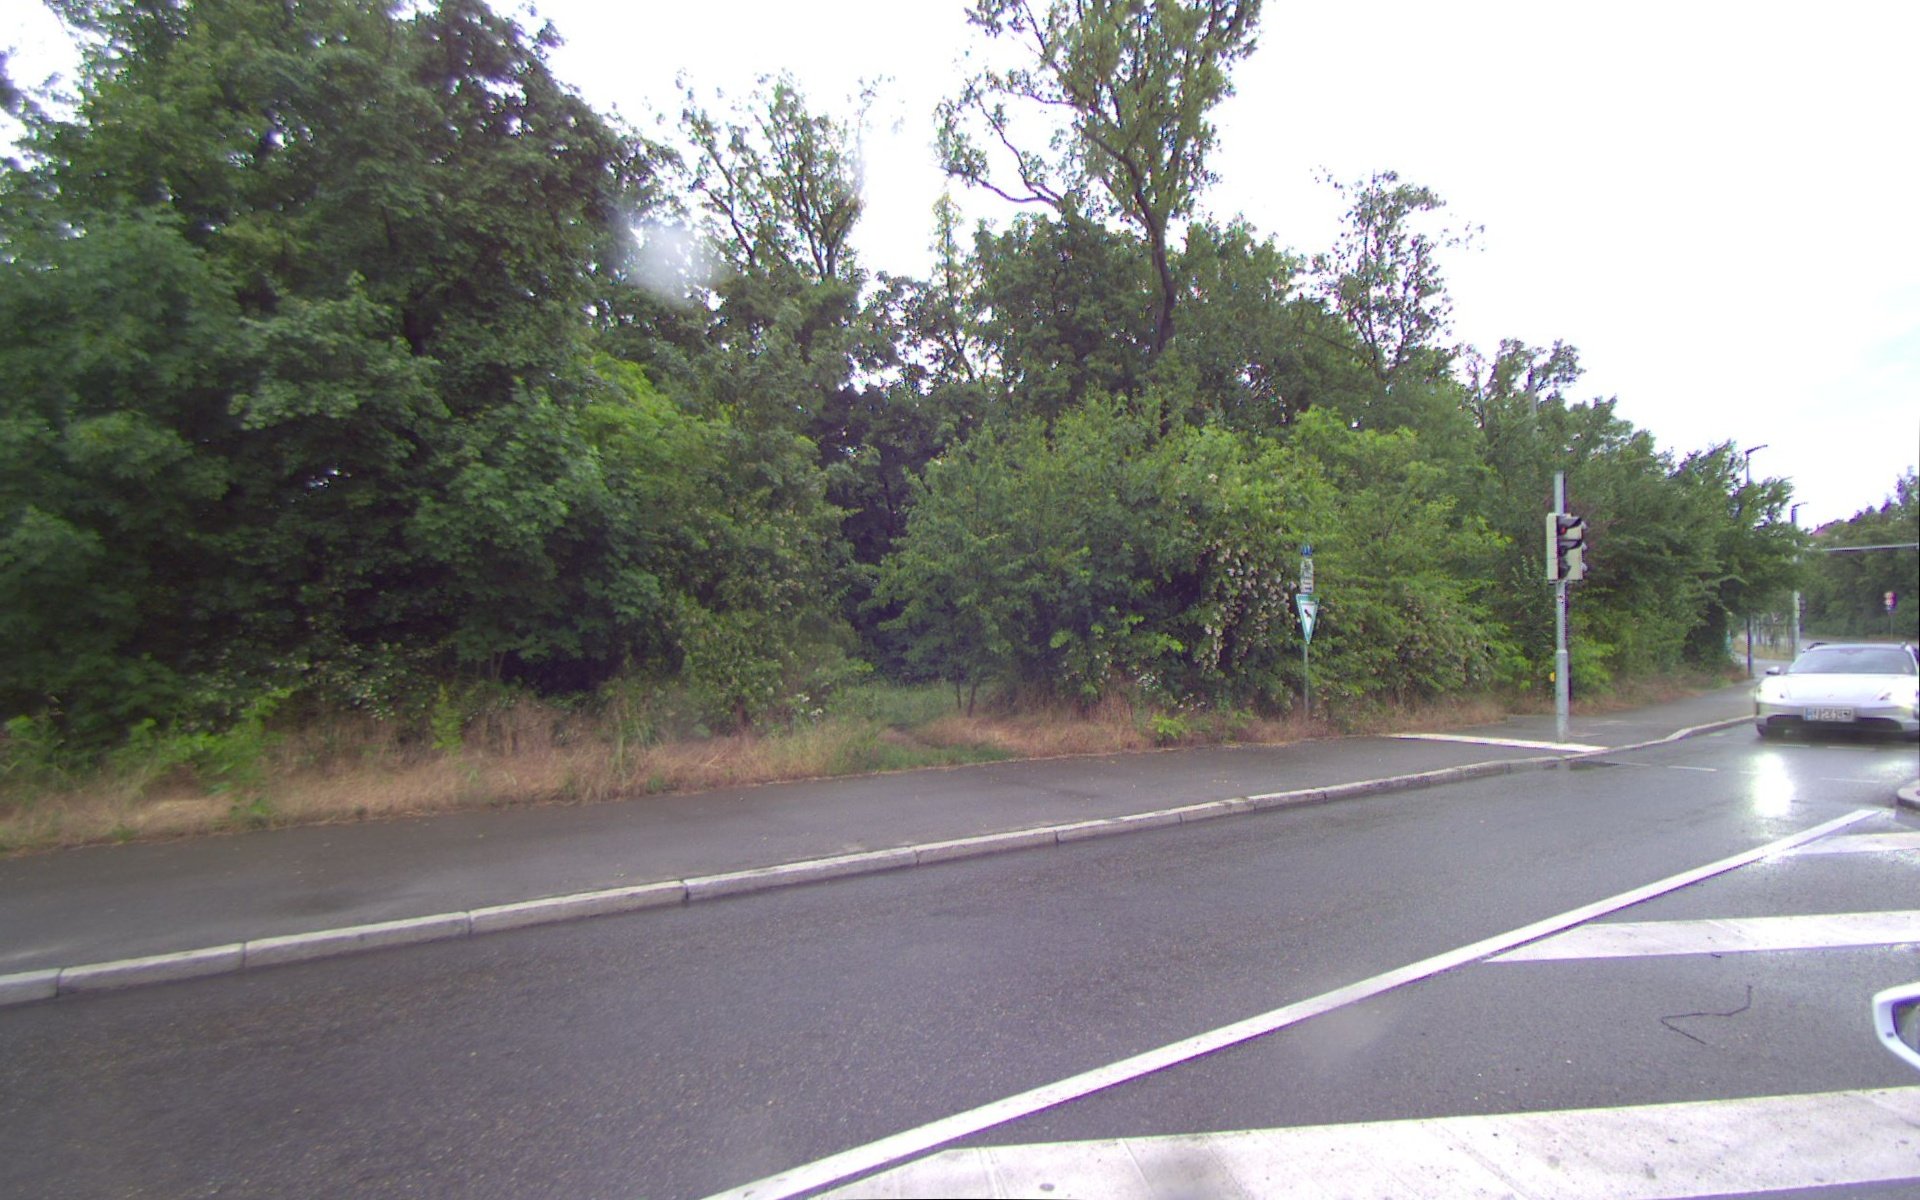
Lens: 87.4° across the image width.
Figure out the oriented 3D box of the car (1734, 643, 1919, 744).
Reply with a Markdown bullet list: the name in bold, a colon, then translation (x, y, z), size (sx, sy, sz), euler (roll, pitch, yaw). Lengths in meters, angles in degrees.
- **car**: translation (13.875, 1.371, 15.661), size (4.324, 1.328, 1.977), euler (1, -4, -40)
